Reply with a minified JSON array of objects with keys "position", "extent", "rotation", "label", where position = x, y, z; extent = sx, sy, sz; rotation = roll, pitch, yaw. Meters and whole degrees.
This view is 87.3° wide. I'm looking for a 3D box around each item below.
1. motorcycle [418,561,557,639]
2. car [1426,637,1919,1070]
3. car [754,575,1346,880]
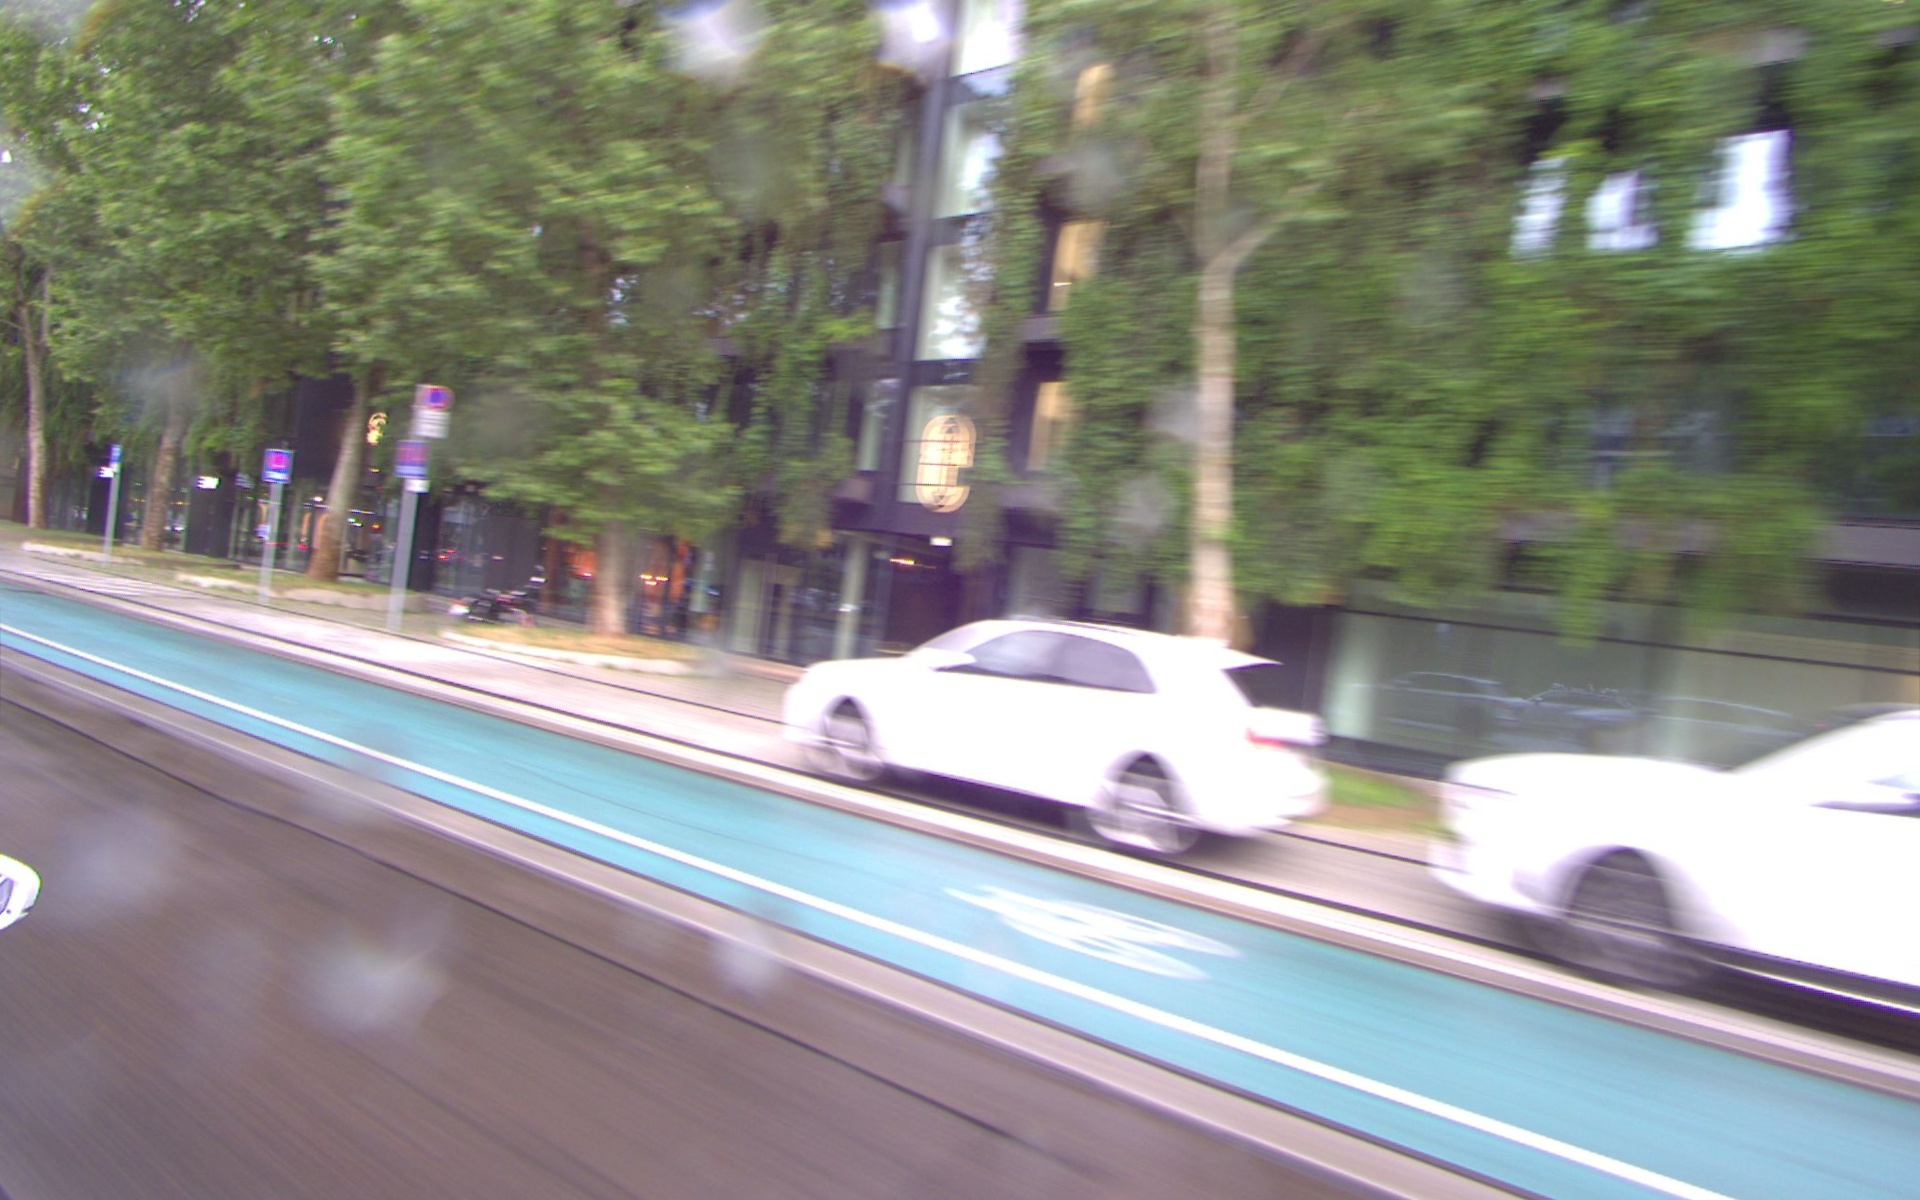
[{"position":[-9.802,0.030,20.995],"extent":[1.035,1.284,2.313],"rotation":[7,-3,30],"label":"motorcycle"},{"position":[5.527,1.468,5.523],"extent":[5.011,1.861,1.844],"rotation":[7,0,34],"label":"car"},{"position":[0.662,0.921,8.850],"extent":[4.707,1.652,1.847],"rotation":[7,-1,31],"label":"car"}]
